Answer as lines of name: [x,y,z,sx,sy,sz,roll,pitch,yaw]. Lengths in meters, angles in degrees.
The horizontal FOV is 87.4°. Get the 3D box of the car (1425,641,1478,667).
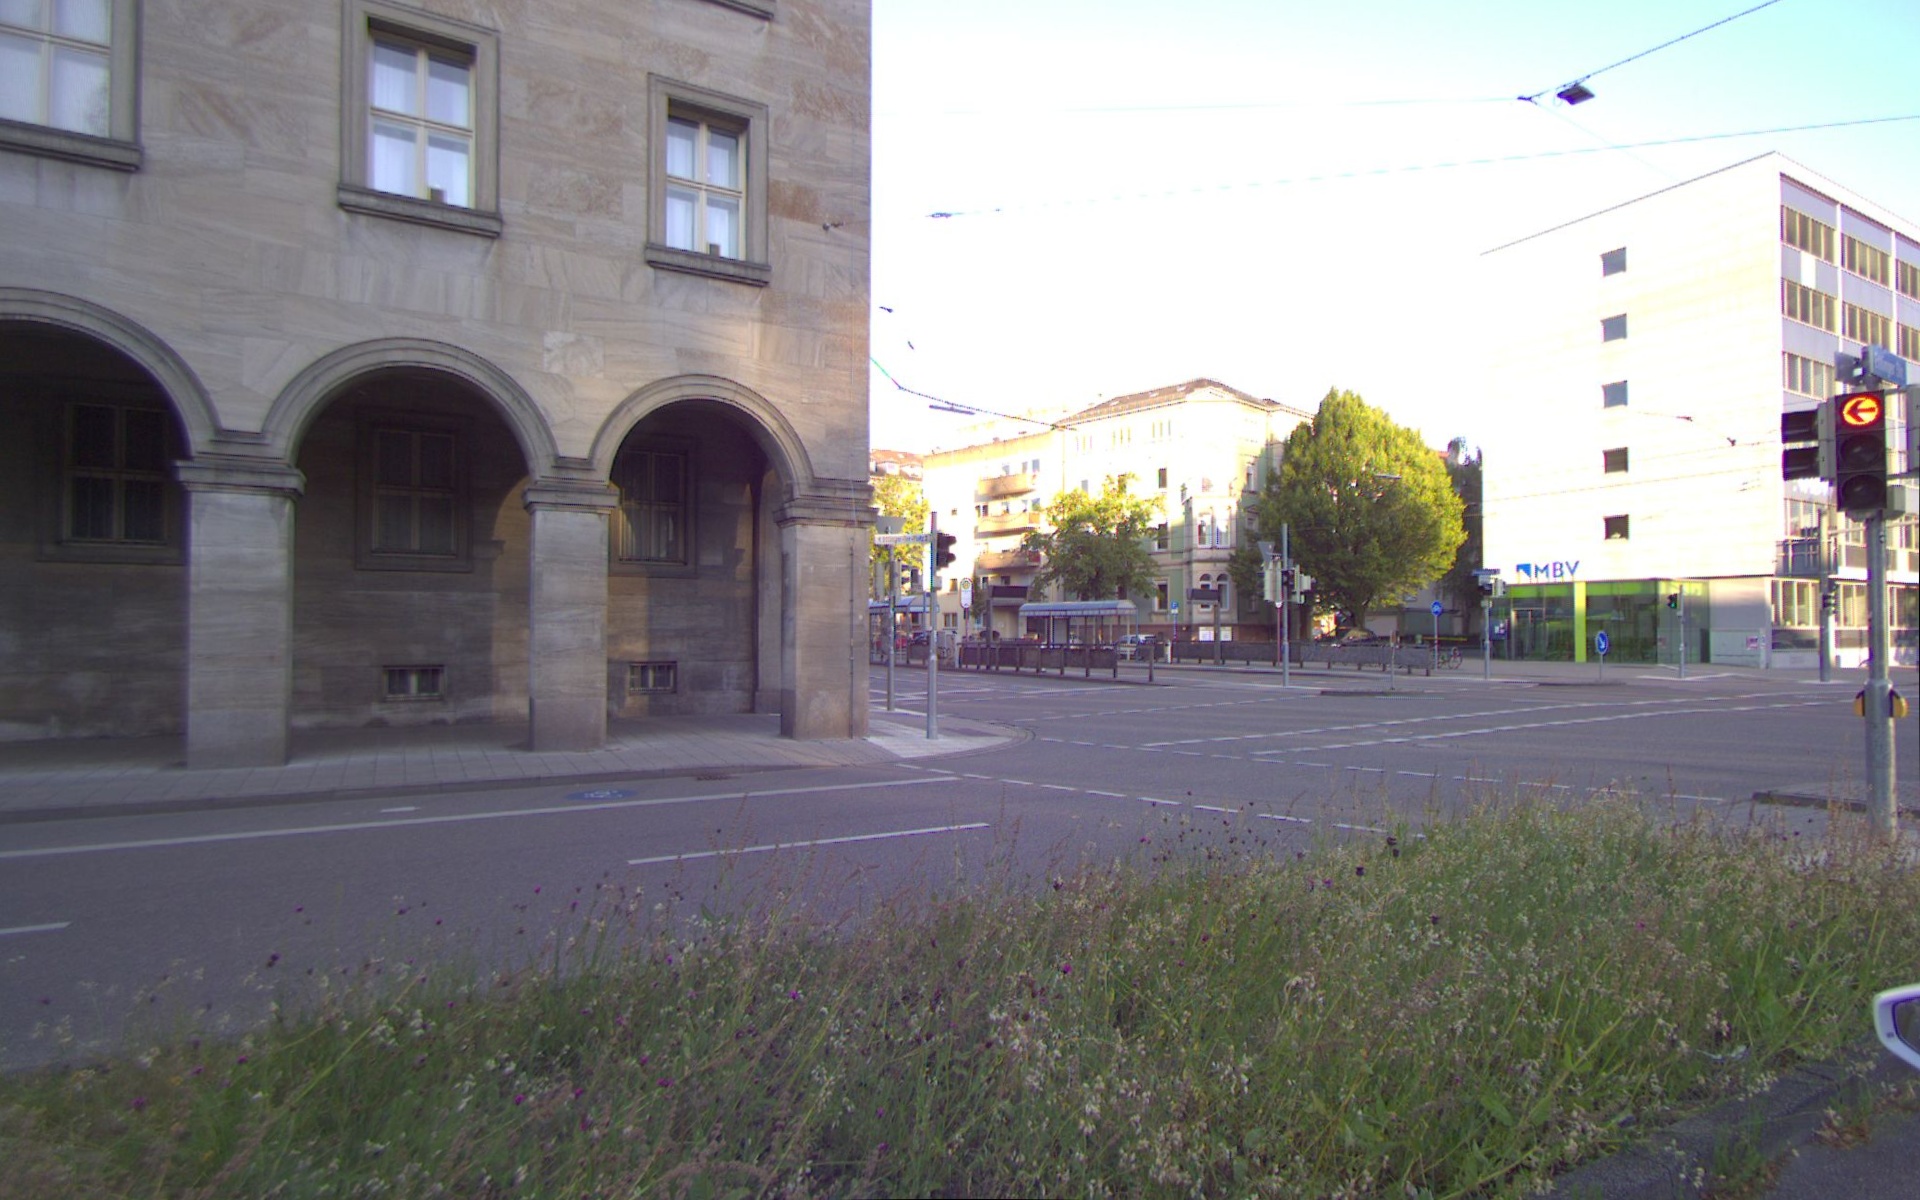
car: [21.203,2.315,43.342,2.492,1.088,0.849,1,-2,-31]

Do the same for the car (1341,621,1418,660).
car: [23.150,2.218,55.376,3.954,2.040,1.984,1,-2,-31]
